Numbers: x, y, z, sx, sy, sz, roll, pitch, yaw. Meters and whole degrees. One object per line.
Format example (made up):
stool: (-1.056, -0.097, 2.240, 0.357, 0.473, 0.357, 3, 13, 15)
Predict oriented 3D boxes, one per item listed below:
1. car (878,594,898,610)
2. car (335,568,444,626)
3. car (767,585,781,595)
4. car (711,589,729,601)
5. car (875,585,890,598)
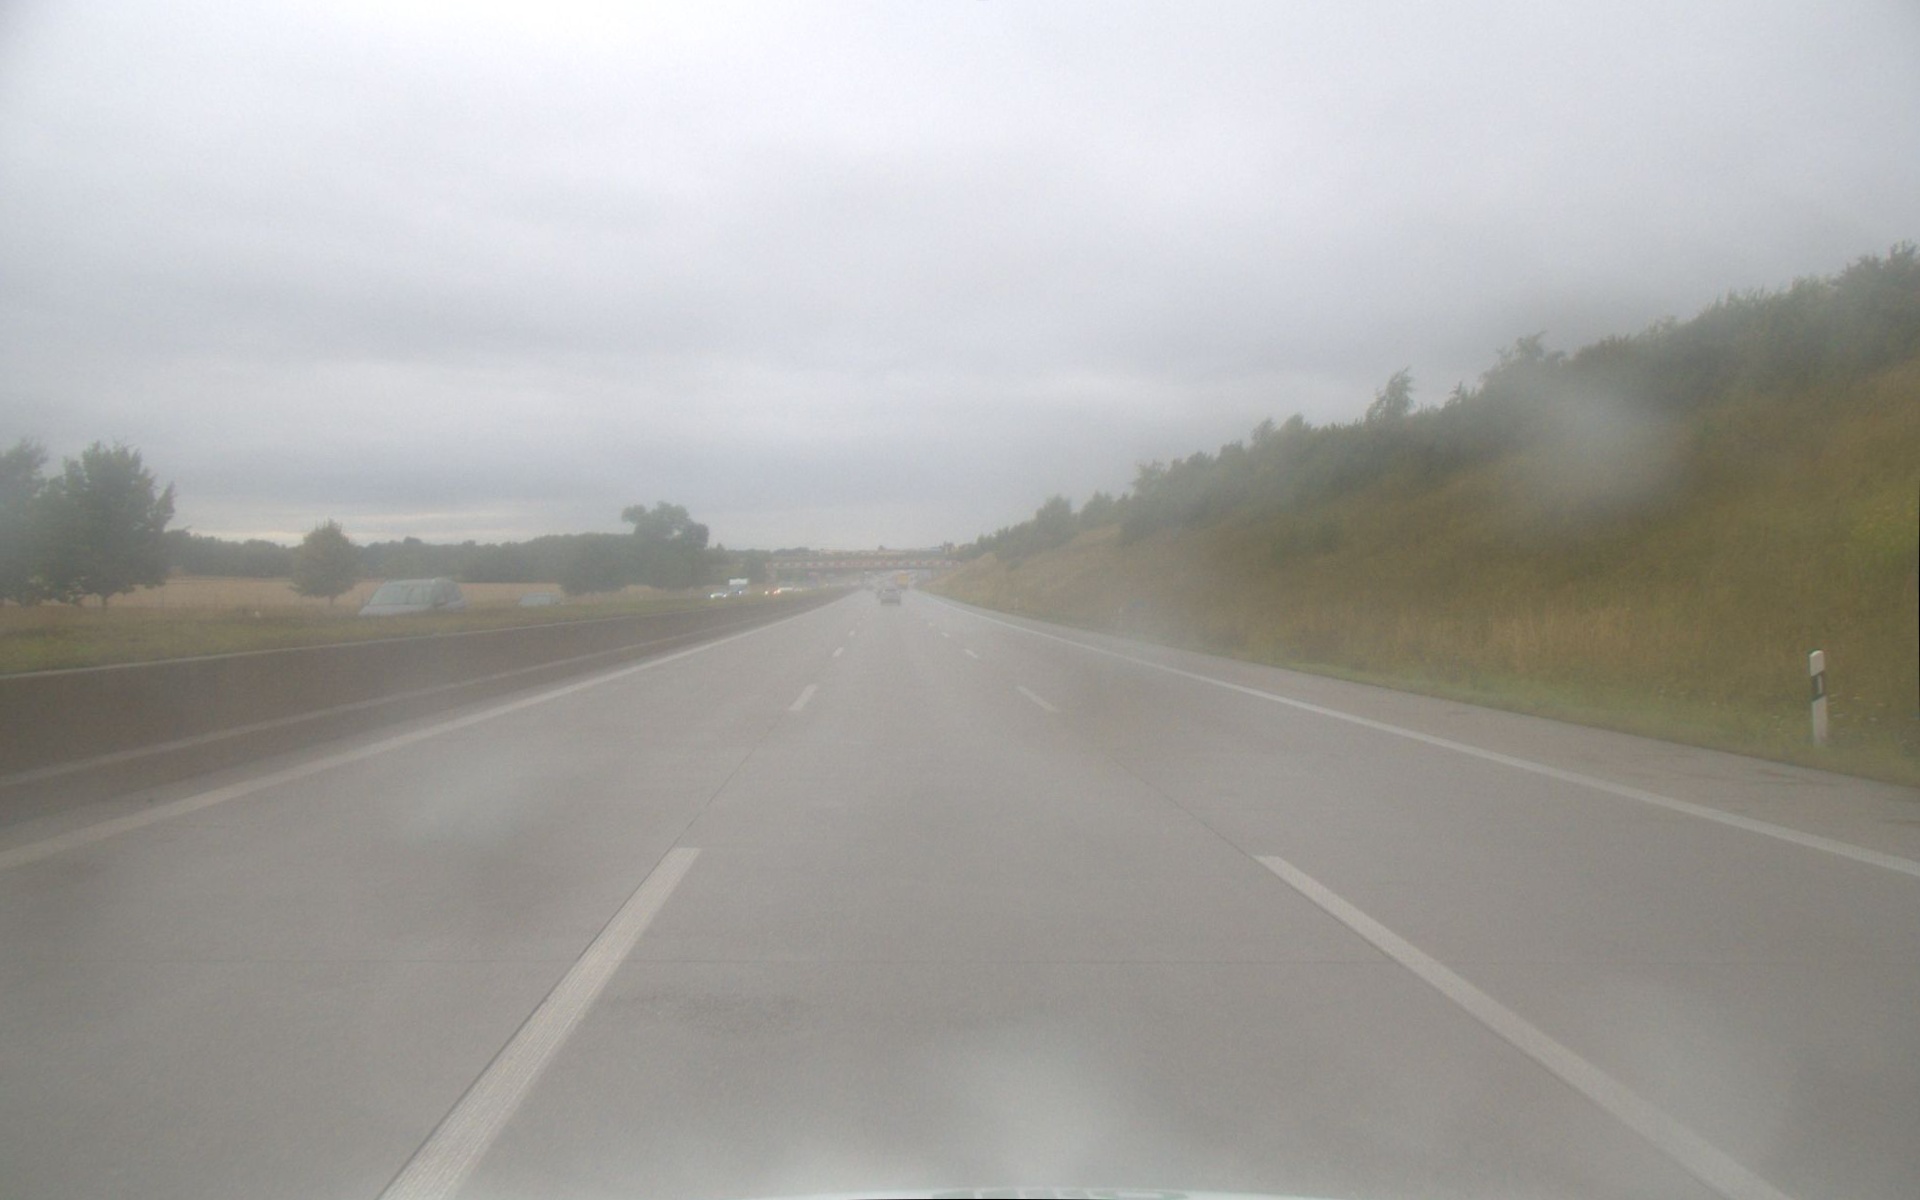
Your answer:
car: (-6.732, 0.169, 154.442, 1.811, 1.354, 4.427, 1, 2, -4)
car: (-14.887, -0.085, 43.352, 1.639, 1.422, 4.063, 2, 0, -4)
car: (-24.970, -1.361, 222.399, 1.639, 1.302, 4.063, 1, 0, -4)
car: (-26.640, -0.528, 183.772, 1.639, 1.302, 4.063, 1, 0, -4)
car: (-8.823, -0.979, 188.721, 1.695, 1.354, 4.427, 1, 2, -3)
